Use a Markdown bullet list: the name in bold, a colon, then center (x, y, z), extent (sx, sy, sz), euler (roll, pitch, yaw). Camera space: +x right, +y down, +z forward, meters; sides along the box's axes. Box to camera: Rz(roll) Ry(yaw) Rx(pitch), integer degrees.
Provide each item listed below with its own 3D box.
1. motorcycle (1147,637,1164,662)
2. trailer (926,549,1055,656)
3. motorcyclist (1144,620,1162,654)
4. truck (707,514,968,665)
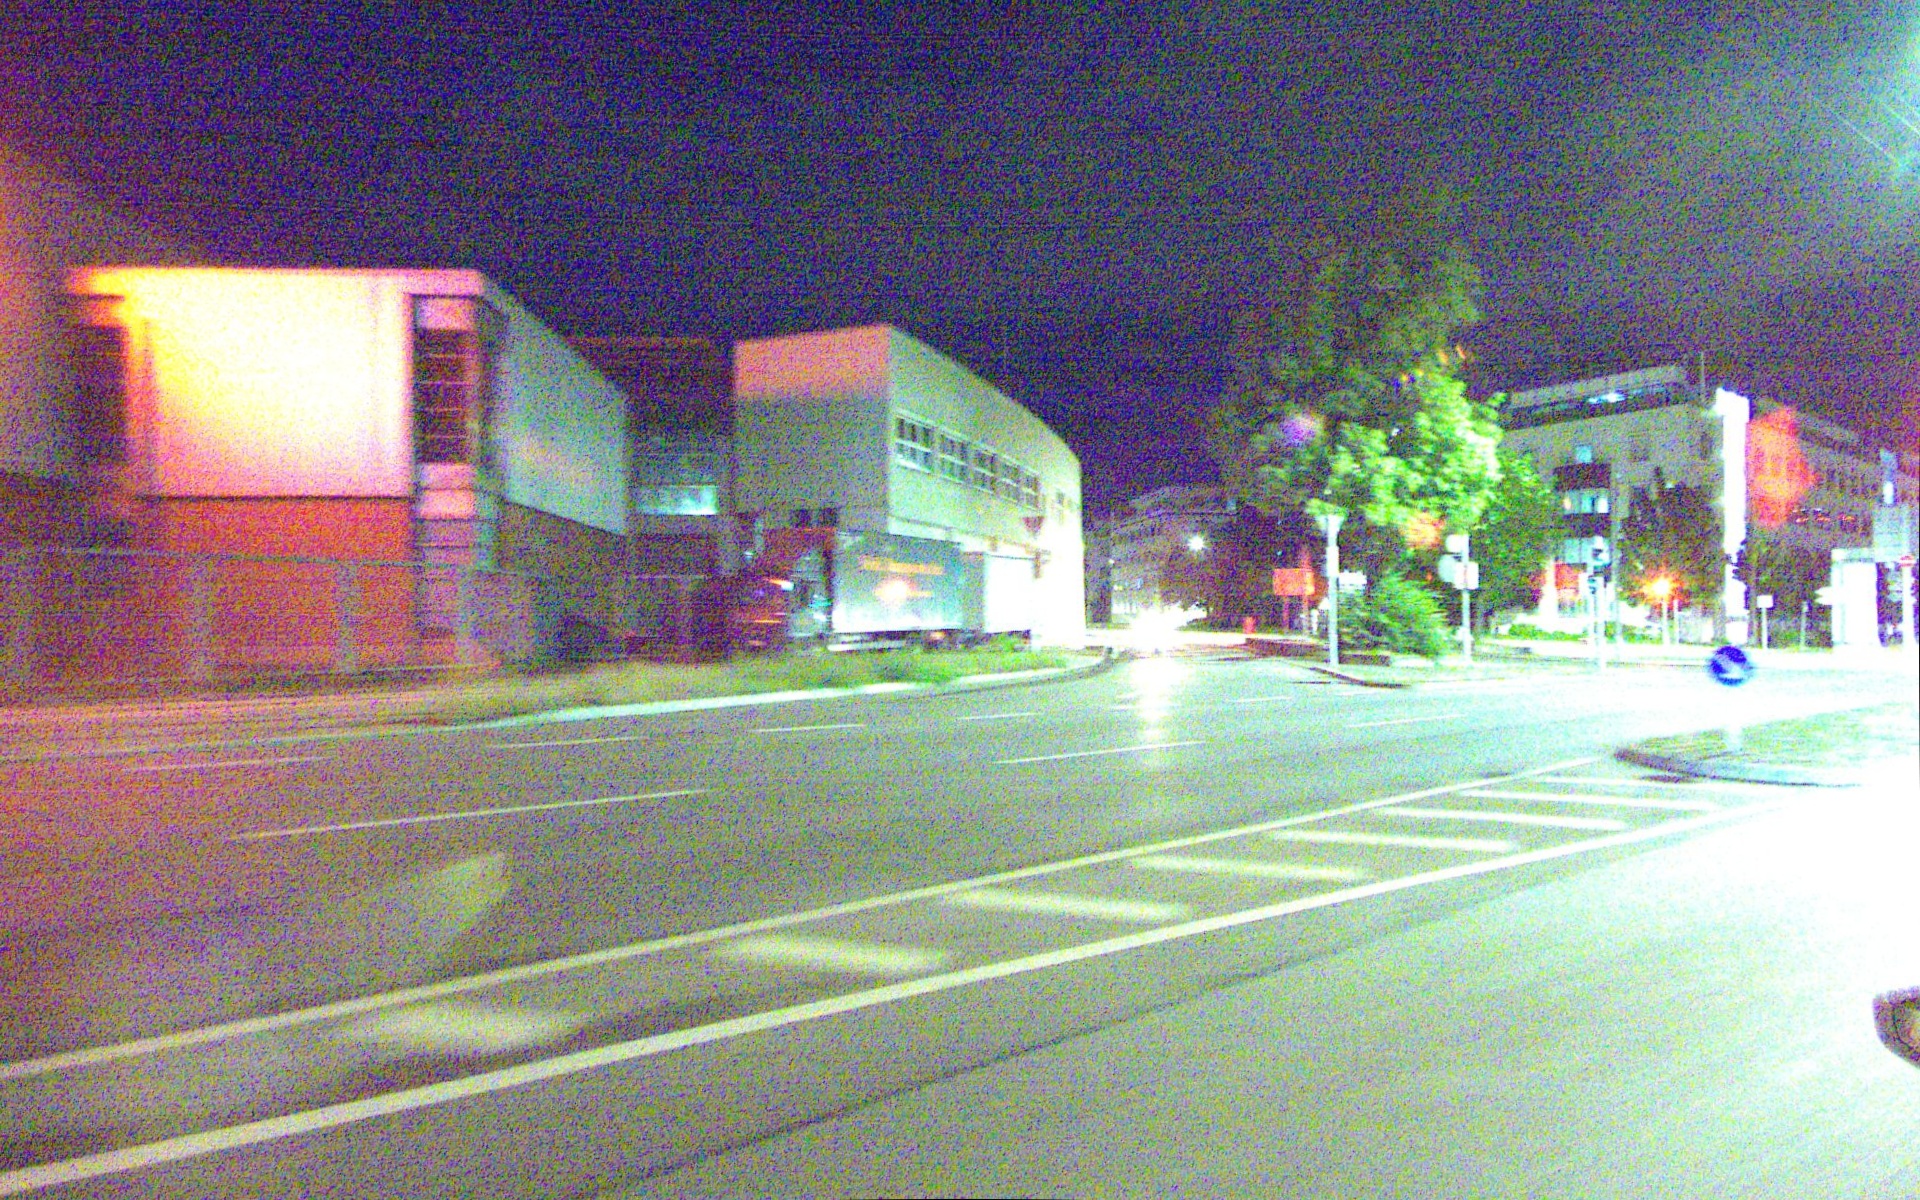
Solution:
- **motorcycle**: center (7.354, 1.847, 37.802), extent (0.568, 0.907, 2.157), euler (-2, -2, 12)
- **trailer**: center (1.352, 0.181, 39.309), extent (2.573, 3.841, 6.508), euler (0, -1, 26)
- **motorcyclist**: center (7.245, 1.391, 37.715), extent (0.635, 1.278, 0.579), euler (1, -1, 12)
- **truck**: center (-3.250, -0.135, 30.475), extent (2.894, 3.846, 9.545), euler (0, -2, 28)
